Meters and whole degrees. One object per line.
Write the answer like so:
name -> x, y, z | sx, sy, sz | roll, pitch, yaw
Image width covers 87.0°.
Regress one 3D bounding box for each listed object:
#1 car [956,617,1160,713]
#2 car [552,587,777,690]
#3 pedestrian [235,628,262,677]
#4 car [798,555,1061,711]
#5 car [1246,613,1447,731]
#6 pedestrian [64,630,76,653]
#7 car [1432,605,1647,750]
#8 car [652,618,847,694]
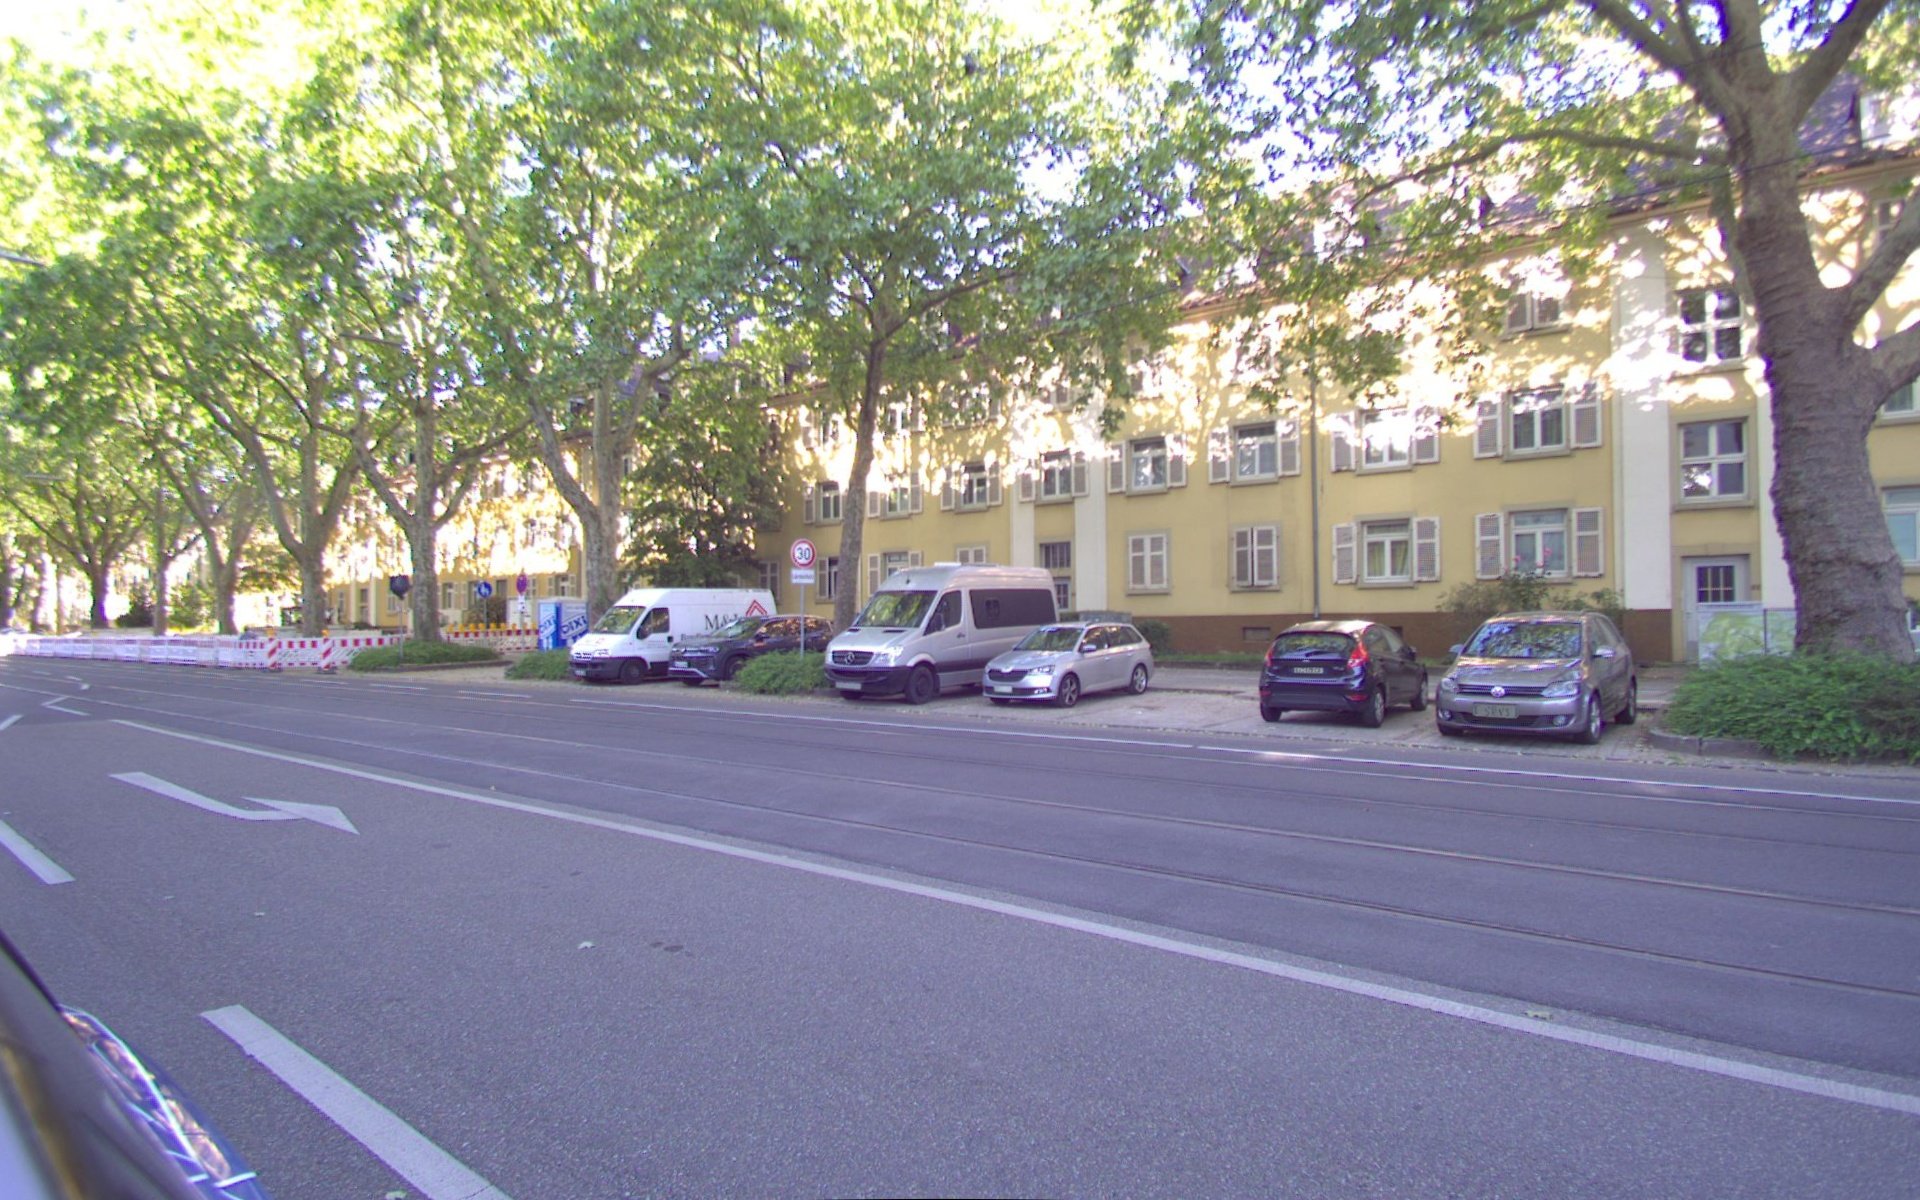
car -> 1.920, 1.117, 18.836 | 1.773, 1.509, 4.031 | -2, -1, 41
car -> -7.554, 0.961, 26.374 | 2.222, 2.394, 5.336 | -2, -2, 40
pedestrian -> -26.274, 1.939, 37.374 | 0.581, 1.759, 0.645 | -1, 0, 31
car -> -0.419, 0.605, 20.447 | 2.221, 2.702, 5.596 | -2, -1, 38
car -> 5.974, 0.997, 15.419 | 1.671, 1.509, 3.756 | -2, -1, 41
pedestrian -> -73.654, 3.431, 83.765 | 0.722, 1.900, 0.666 | -1, 0, -42
car -> 7.751, 0.894, 13.368 | 1.672, 1.592, 3.928 | -2, -1, 41
car -> -4.971, 1.273, 24.448 | 1.772, 1.664, 4.570 | -2, -2, 38
